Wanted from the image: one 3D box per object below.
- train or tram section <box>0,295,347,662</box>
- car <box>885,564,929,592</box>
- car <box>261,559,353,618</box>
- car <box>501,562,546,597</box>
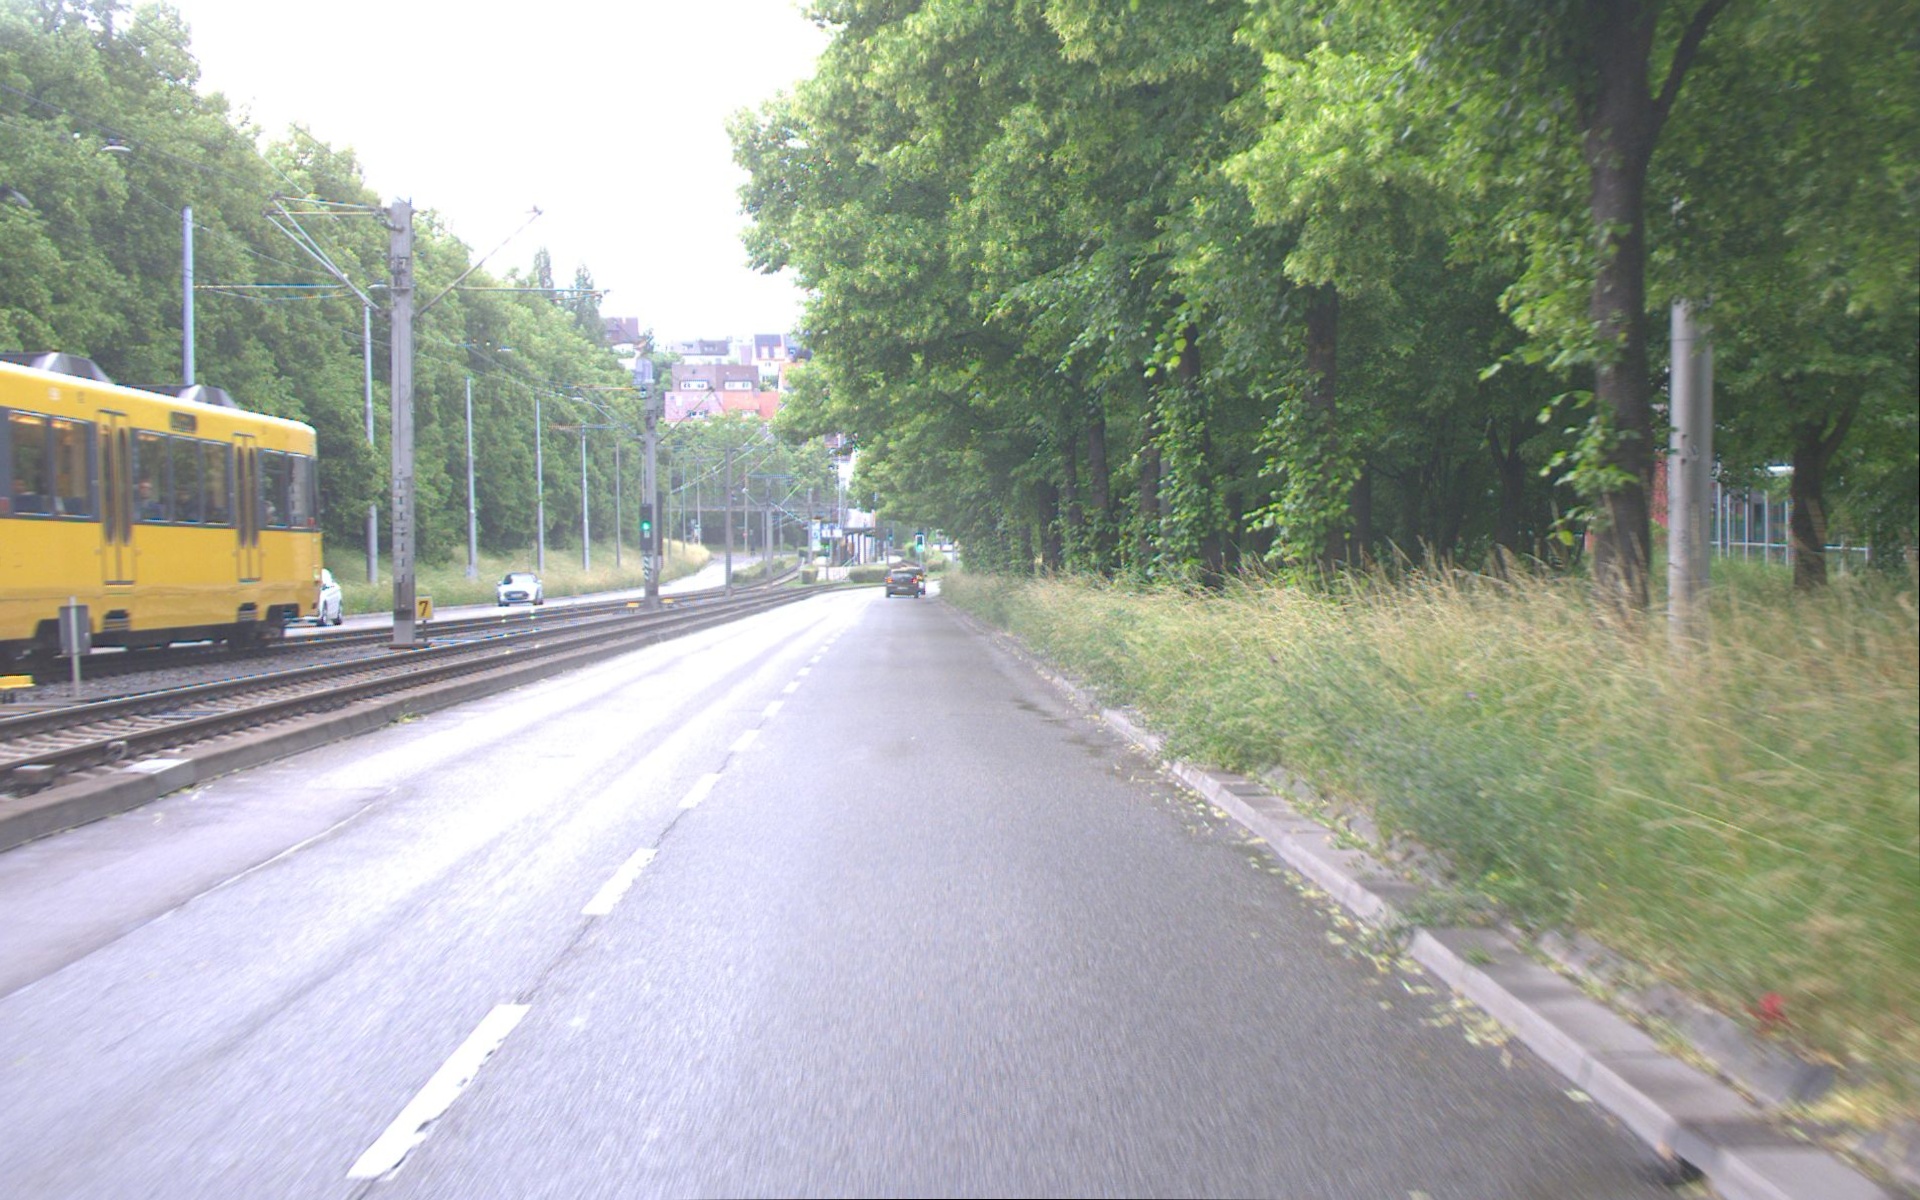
[{"bbox_3d":[-11.331,-1.456,44.862,2.967,3.797,19.520,0,1,1],"label":"train or tram section"},{"bbox_3d":[-2.683,-1.142,174.703,2.194,1.325,4.001,1,1,-1],"label":"car"},{"bbox_3d":[-17.547,-0.333,92.576,1.653,1.524,4.381,0,1,0],"label":"car"},{"bbox_3d":[-18.918,-0.886,149.099,1.476,1.431,3.909,-2,1,0],"label":"car"}]
